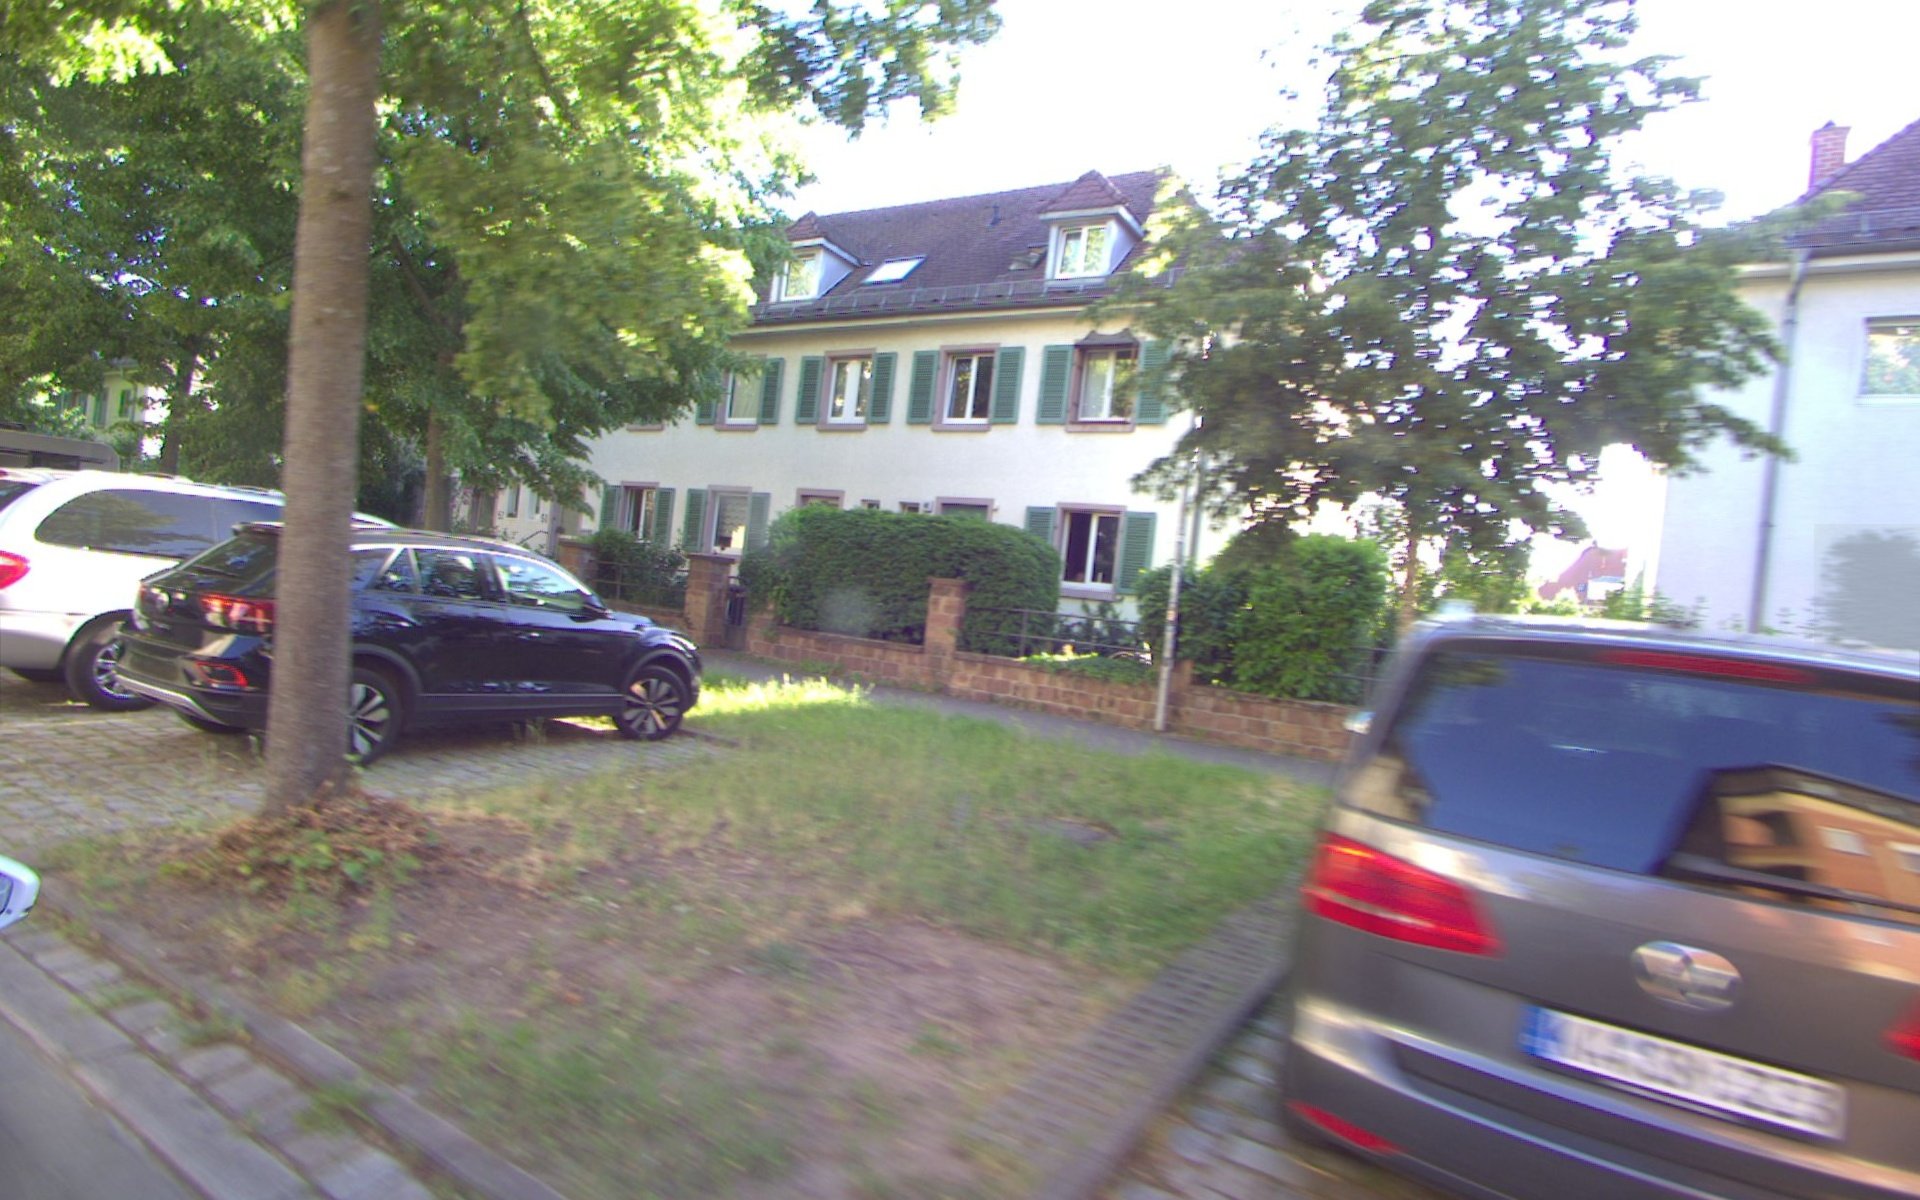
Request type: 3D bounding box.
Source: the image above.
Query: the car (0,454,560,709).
[{"bbox_3d":[-6.201,-0.106,8.962,1.803,1.731,4.621,7,1,33],"label":"car"}]

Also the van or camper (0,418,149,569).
[{"bbox_3d":[-19.587,-2.186,18.234,2.425,2.682,7.144,7,2,33],"label":"van or camper"}]

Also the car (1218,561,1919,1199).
[{"bbox_3d":[2.443,0.858,3.973,1.780,1.655,4.544,6,2,26],"label":"car"}]

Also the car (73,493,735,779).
[{"bbox_3d":[-3.841,0.212,7.678,1.666,1.496,4.067,7,2,32],"label":"car"}]
